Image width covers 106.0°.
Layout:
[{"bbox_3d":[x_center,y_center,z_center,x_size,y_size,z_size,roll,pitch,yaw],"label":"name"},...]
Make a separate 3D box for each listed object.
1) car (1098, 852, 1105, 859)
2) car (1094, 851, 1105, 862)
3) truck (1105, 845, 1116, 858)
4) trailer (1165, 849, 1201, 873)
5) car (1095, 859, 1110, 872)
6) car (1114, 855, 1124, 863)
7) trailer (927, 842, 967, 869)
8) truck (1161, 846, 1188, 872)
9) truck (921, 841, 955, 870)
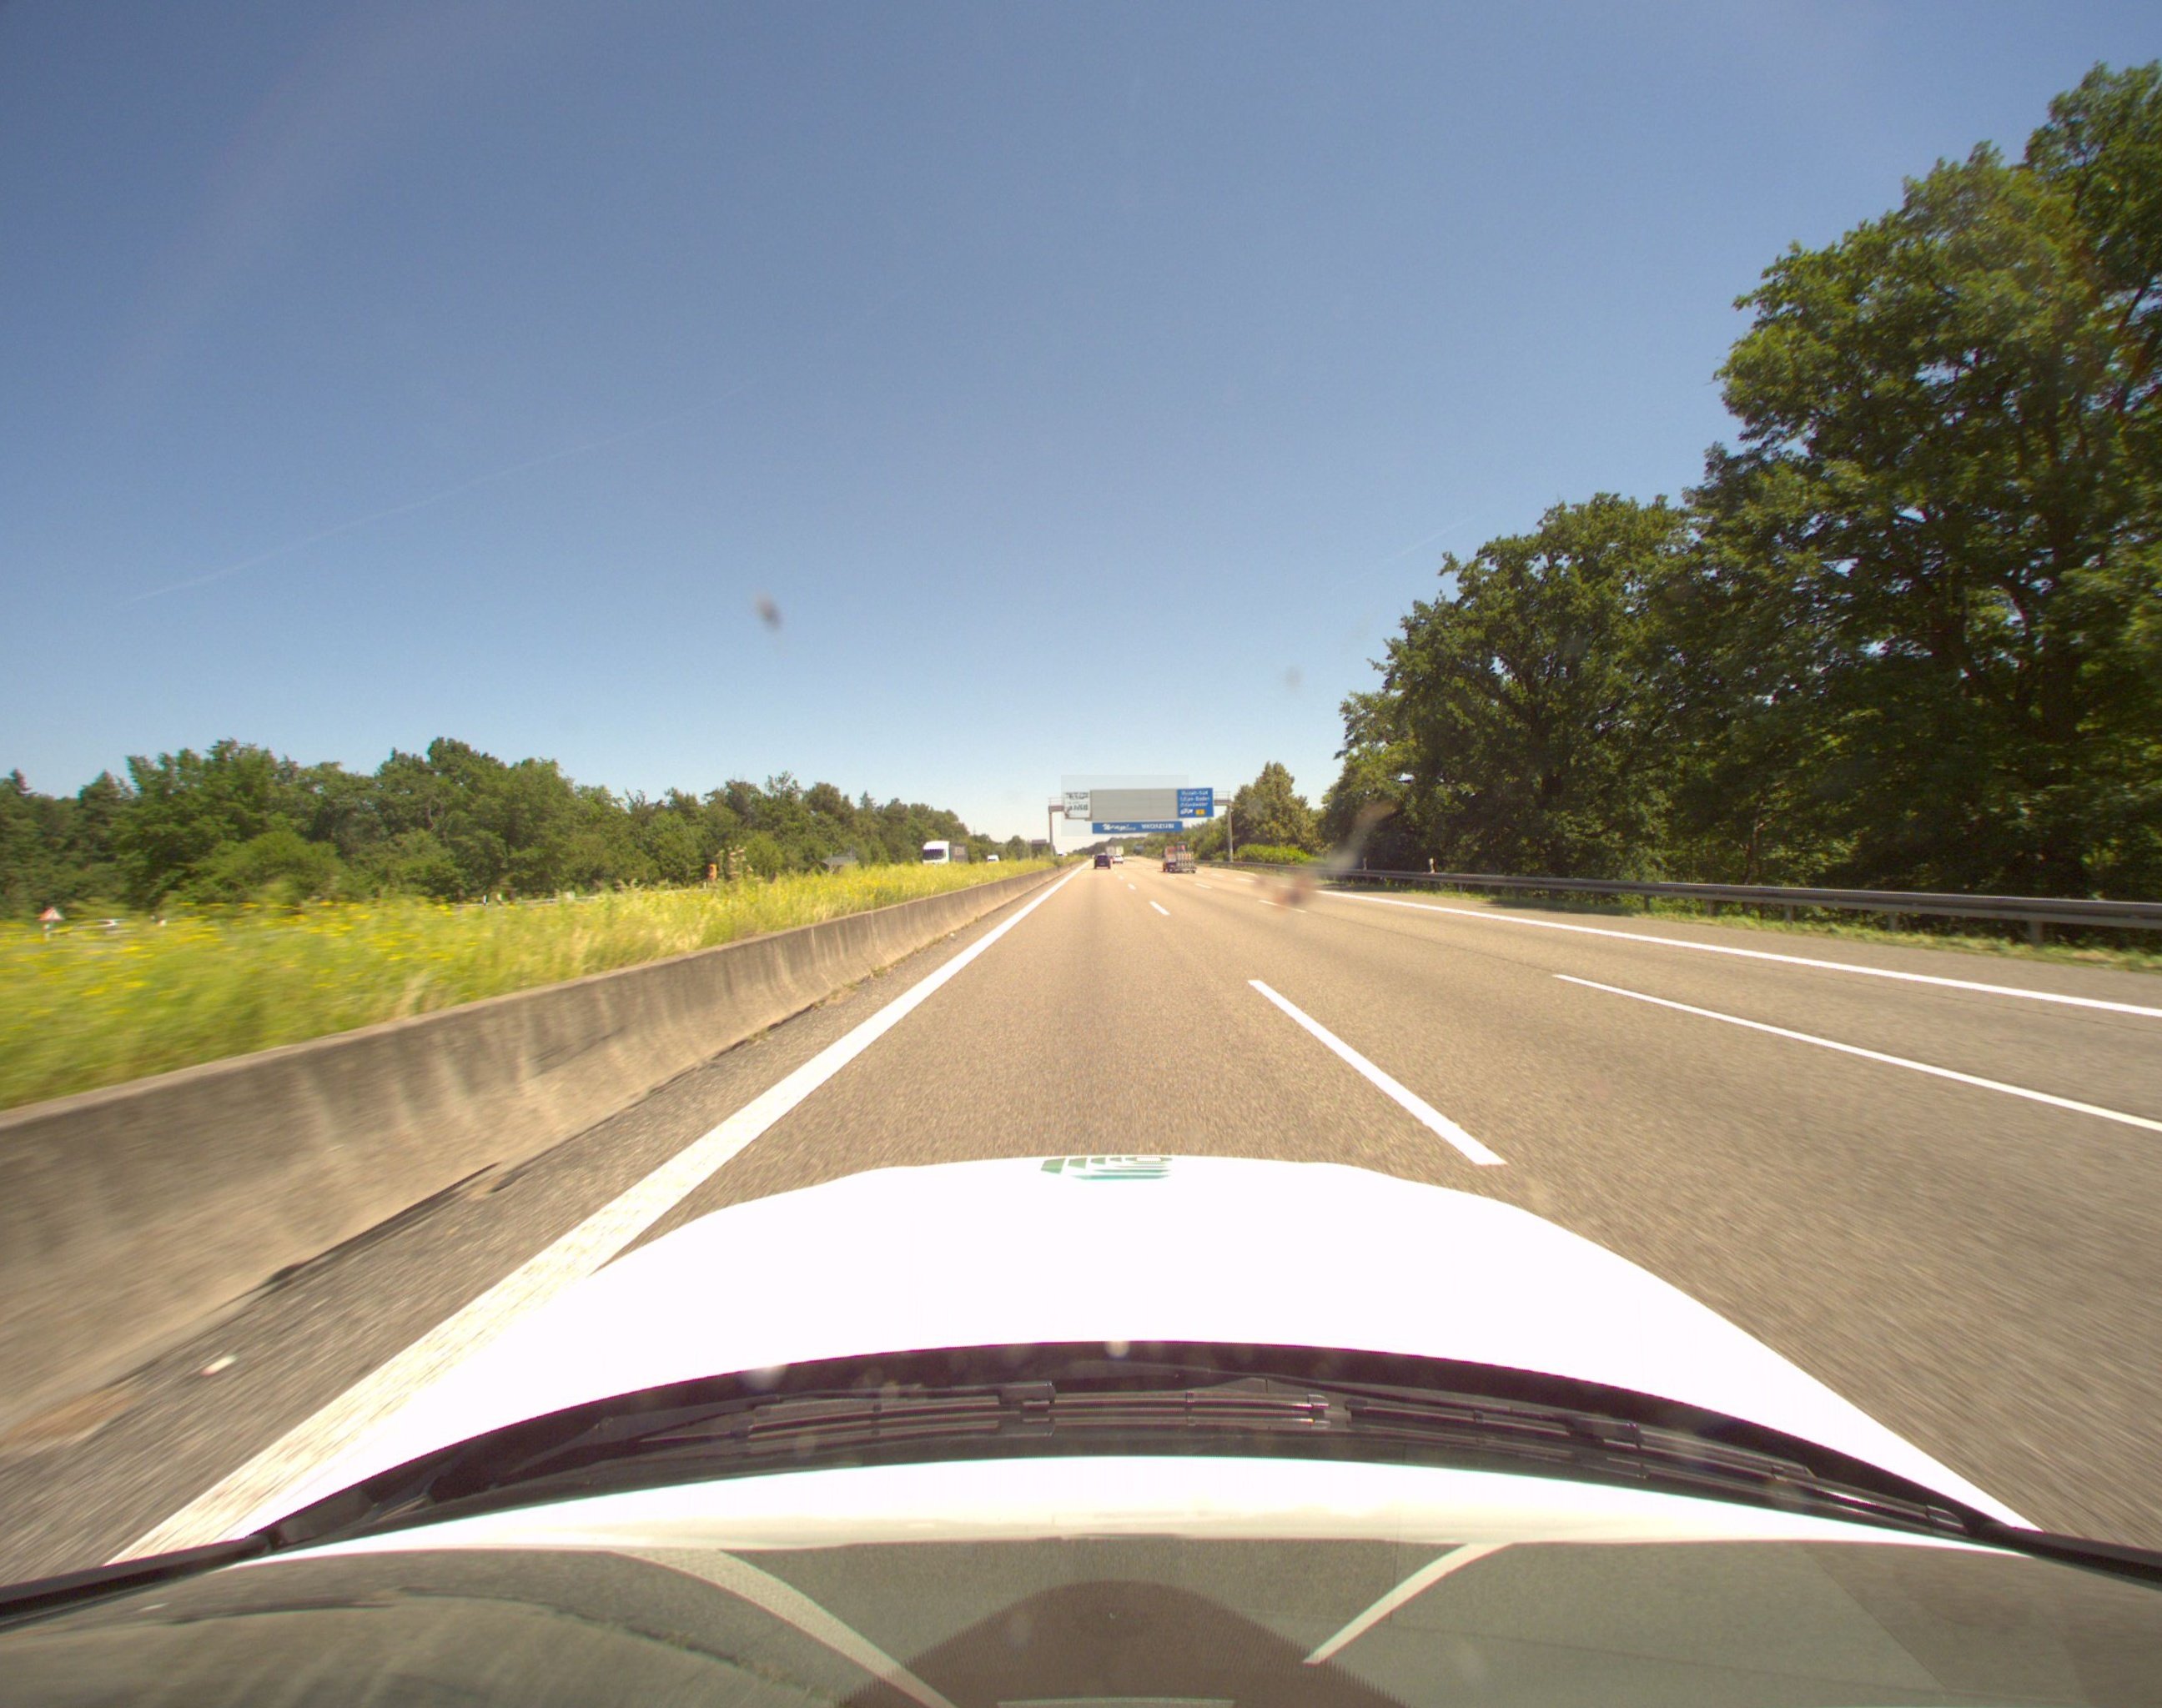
[{"bbox_3d":[6.368,0.418,252.751,1.987,2.014,3.999,-3,-1,0],"label":"car"},{"bbox_3d":[3.678,0.536,159.240,1.987,2.014,4.000,-2,-1,0],"label":"car"},{"bbox_3d":[9.415,-0.710,263.551,3.298,3.994,8.402,0,-1,0],"label":"truck"},{"bbox_3d":[9.038,0.628,72.759,2.413,2.013,6.032,-1,0,0],"label":"trailer"},{"bbox_3d":[2.567,1.358,99.270,1.655,1.549,3.782,1,-1,-1],"label":"car"},{"bbox_3d":[6.899,0.951,147.299,1.734,1.486,4.000,-1,-1,0],"label":"car"},{"bbox_3d":[-15.894,0.181,97.746,2.592,3.102,11.956,-1,0,1],"label":"trailer"},{"bbox_3d":[8.898,0.452,78.110,1.987,2.374,4.643,-1,0,0],"label":"truck"},{"bbox_3d":[-16.012,0.183,91.522,2.633,3.084,5.849,-1,0,1],"label":"truck"}]
